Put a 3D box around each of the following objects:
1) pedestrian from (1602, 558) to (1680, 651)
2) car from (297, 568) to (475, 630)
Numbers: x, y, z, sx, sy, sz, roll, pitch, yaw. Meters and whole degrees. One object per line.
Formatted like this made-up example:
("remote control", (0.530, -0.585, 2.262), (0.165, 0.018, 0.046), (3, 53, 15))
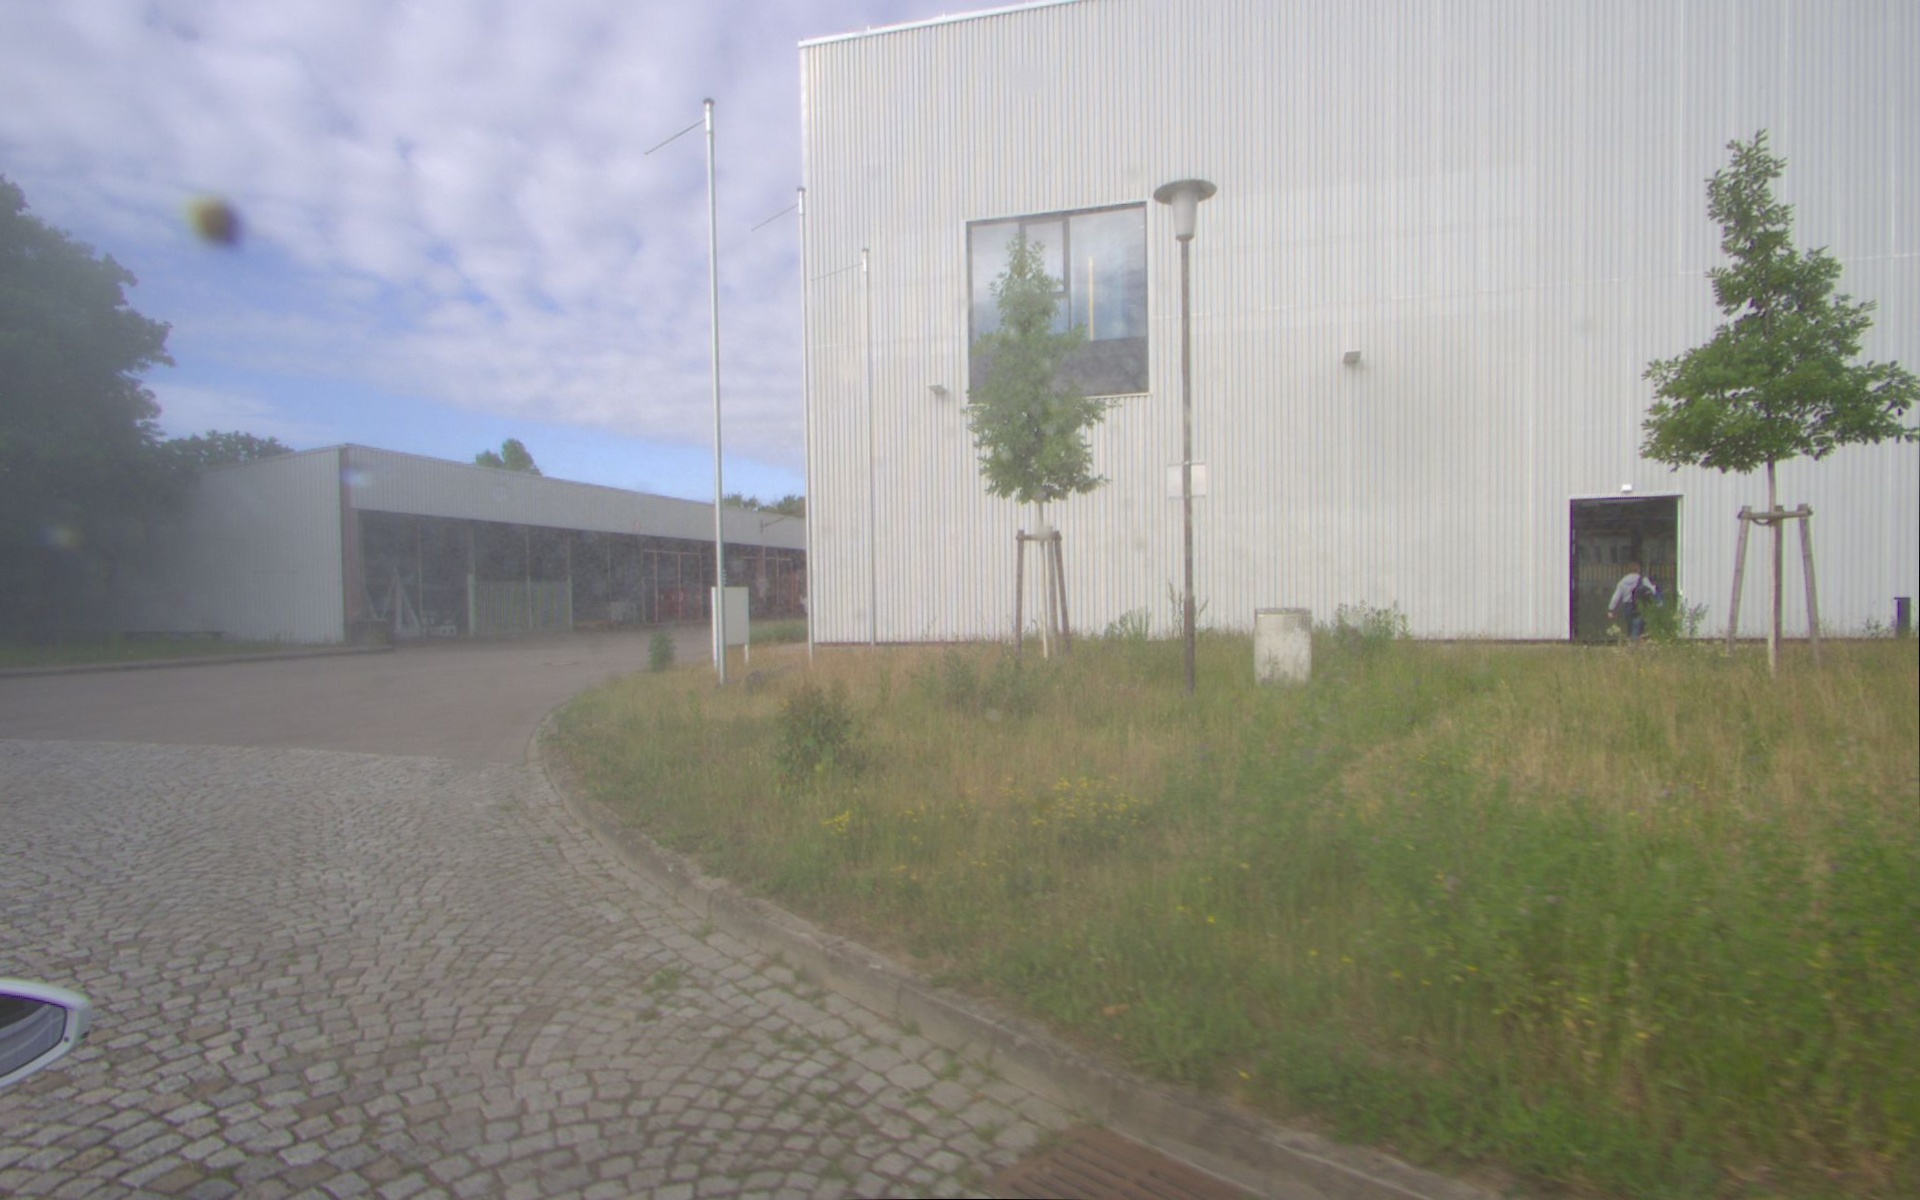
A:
("pedestrian", (12.054, 0.064, 17.732), (1.062, 1.577, 1.070), (0, 2, 39))
("car", (-19.893, -0.035, 34.790), (5.238, 2.041, 2.245), (-1, 1, 14))
